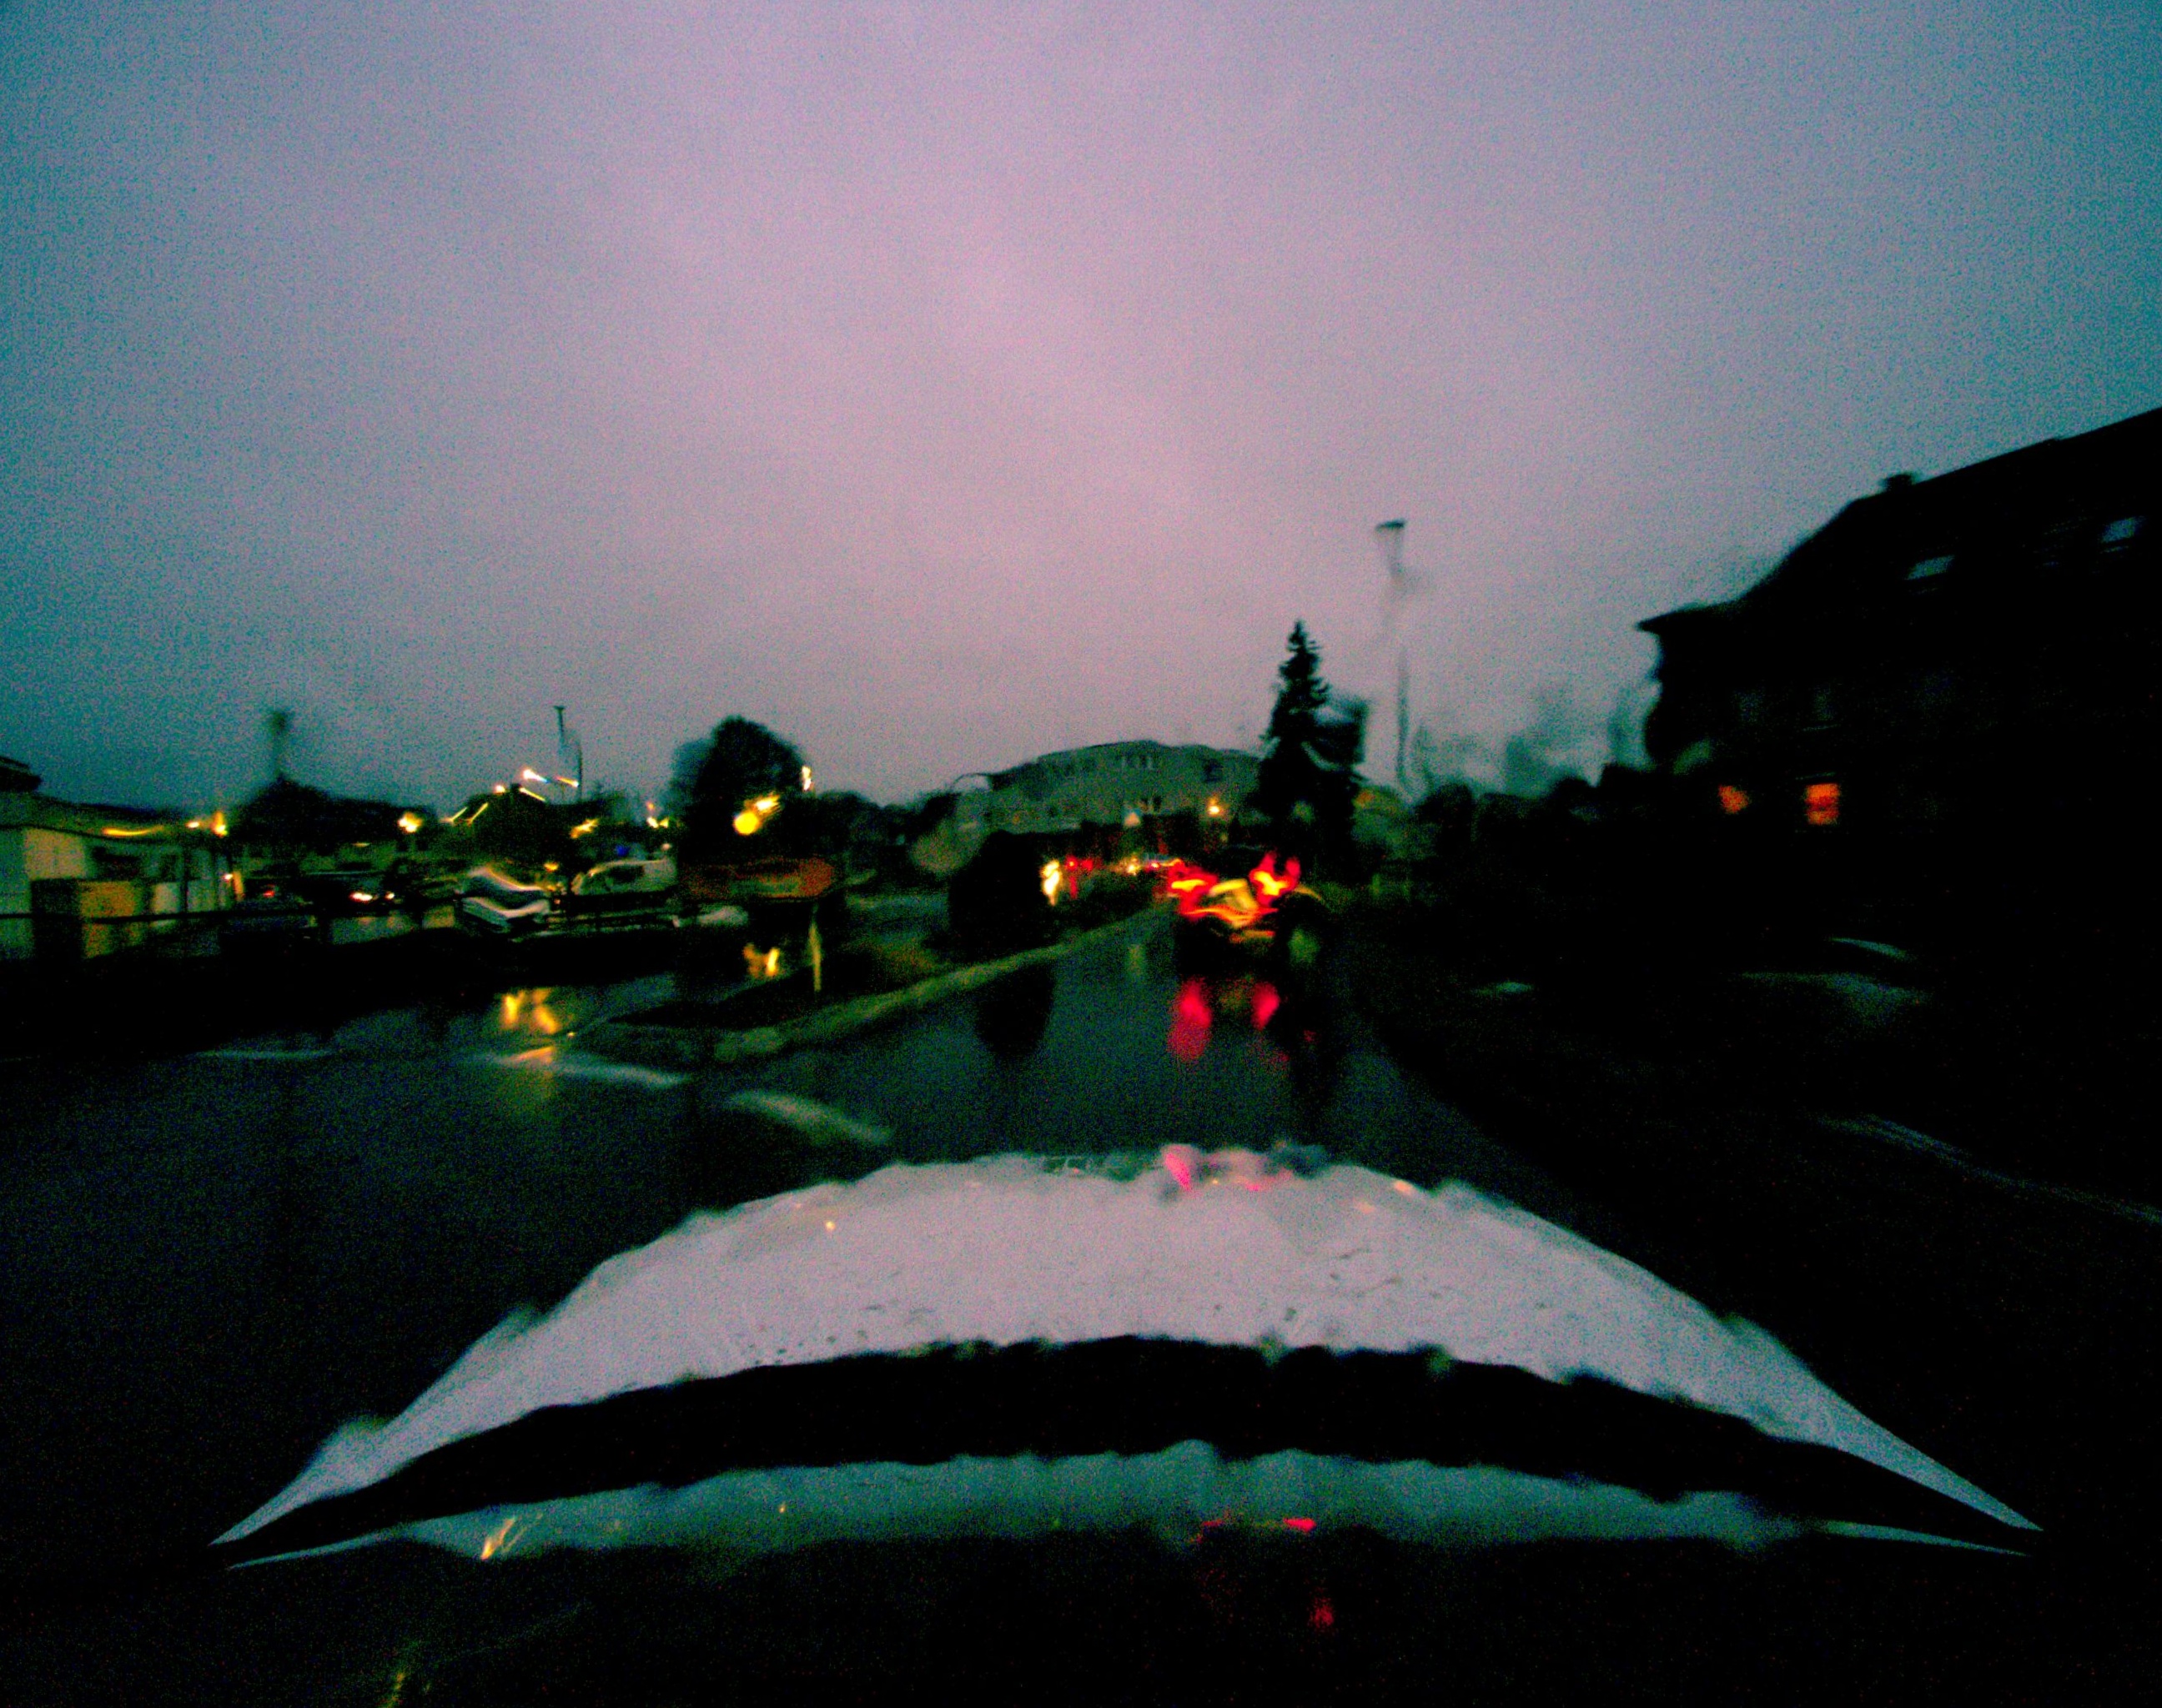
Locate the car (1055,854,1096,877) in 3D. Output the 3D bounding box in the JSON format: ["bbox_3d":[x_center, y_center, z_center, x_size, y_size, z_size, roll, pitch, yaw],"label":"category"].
[{"bbox_3d":[-0.430,0.843,60.142,1.886,1.548,4.546,-2,-1,-15],"label":"car"}]

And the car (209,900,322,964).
[{"bbox_3d":[-21.856,2.025,21.976,1.851,1.311,3.953,-1,0,-41],"label":"car"}]

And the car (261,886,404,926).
[{"bbox_3d":[-36.819,2.513,40.271,5.077,1.665,1.776,-1,0,-39],"label":"car"}]

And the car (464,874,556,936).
[{"bbox_3d":[-17.130,1.445,24.470,2.074,1.561,4.234,-1,0,-35],"label":"car"}]

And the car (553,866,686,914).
[{"bbox_3d":[-23.104,1.734,40.943,2.008,2.134,5.455,-1,0,45],"label":"car"}]

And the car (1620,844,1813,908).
[{"bbox_3d":[15.201,0.462,19.704,1.286,1.383,3.556,-1,1,-19],"label":"car"}]

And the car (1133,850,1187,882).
[{"bbox_3d":[4.637,0.668,48.568,2.063,1.717,4.556,-2,1,-10],"label":"car"}]

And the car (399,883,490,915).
[{"bbox_3d":[-35.803,2.519,45.853,3.873,1.541,1.707,-1,0,-44],"label":"car"}]

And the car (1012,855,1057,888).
[{"bbox_3d":[-3.293,1.199,57.260,2.168,2.060,4.547,-2,1,-16],"label":"car"}]

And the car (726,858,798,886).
[{"bbox_3d":[-22.591,1.267,57.719,4.379,1.747,1.686,-3,1,-40],"label":"car"}]

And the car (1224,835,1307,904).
[{"bbox_3d":[5.715,0.394,25.523,2.149,1.689,4.586,-6,1,11],"label":"car"}]

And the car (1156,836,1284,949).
[{"bbox_3d":[2.411,0.573,14.845,1.934,1.718,4.008,-2,1,6],"label":"car"}]
